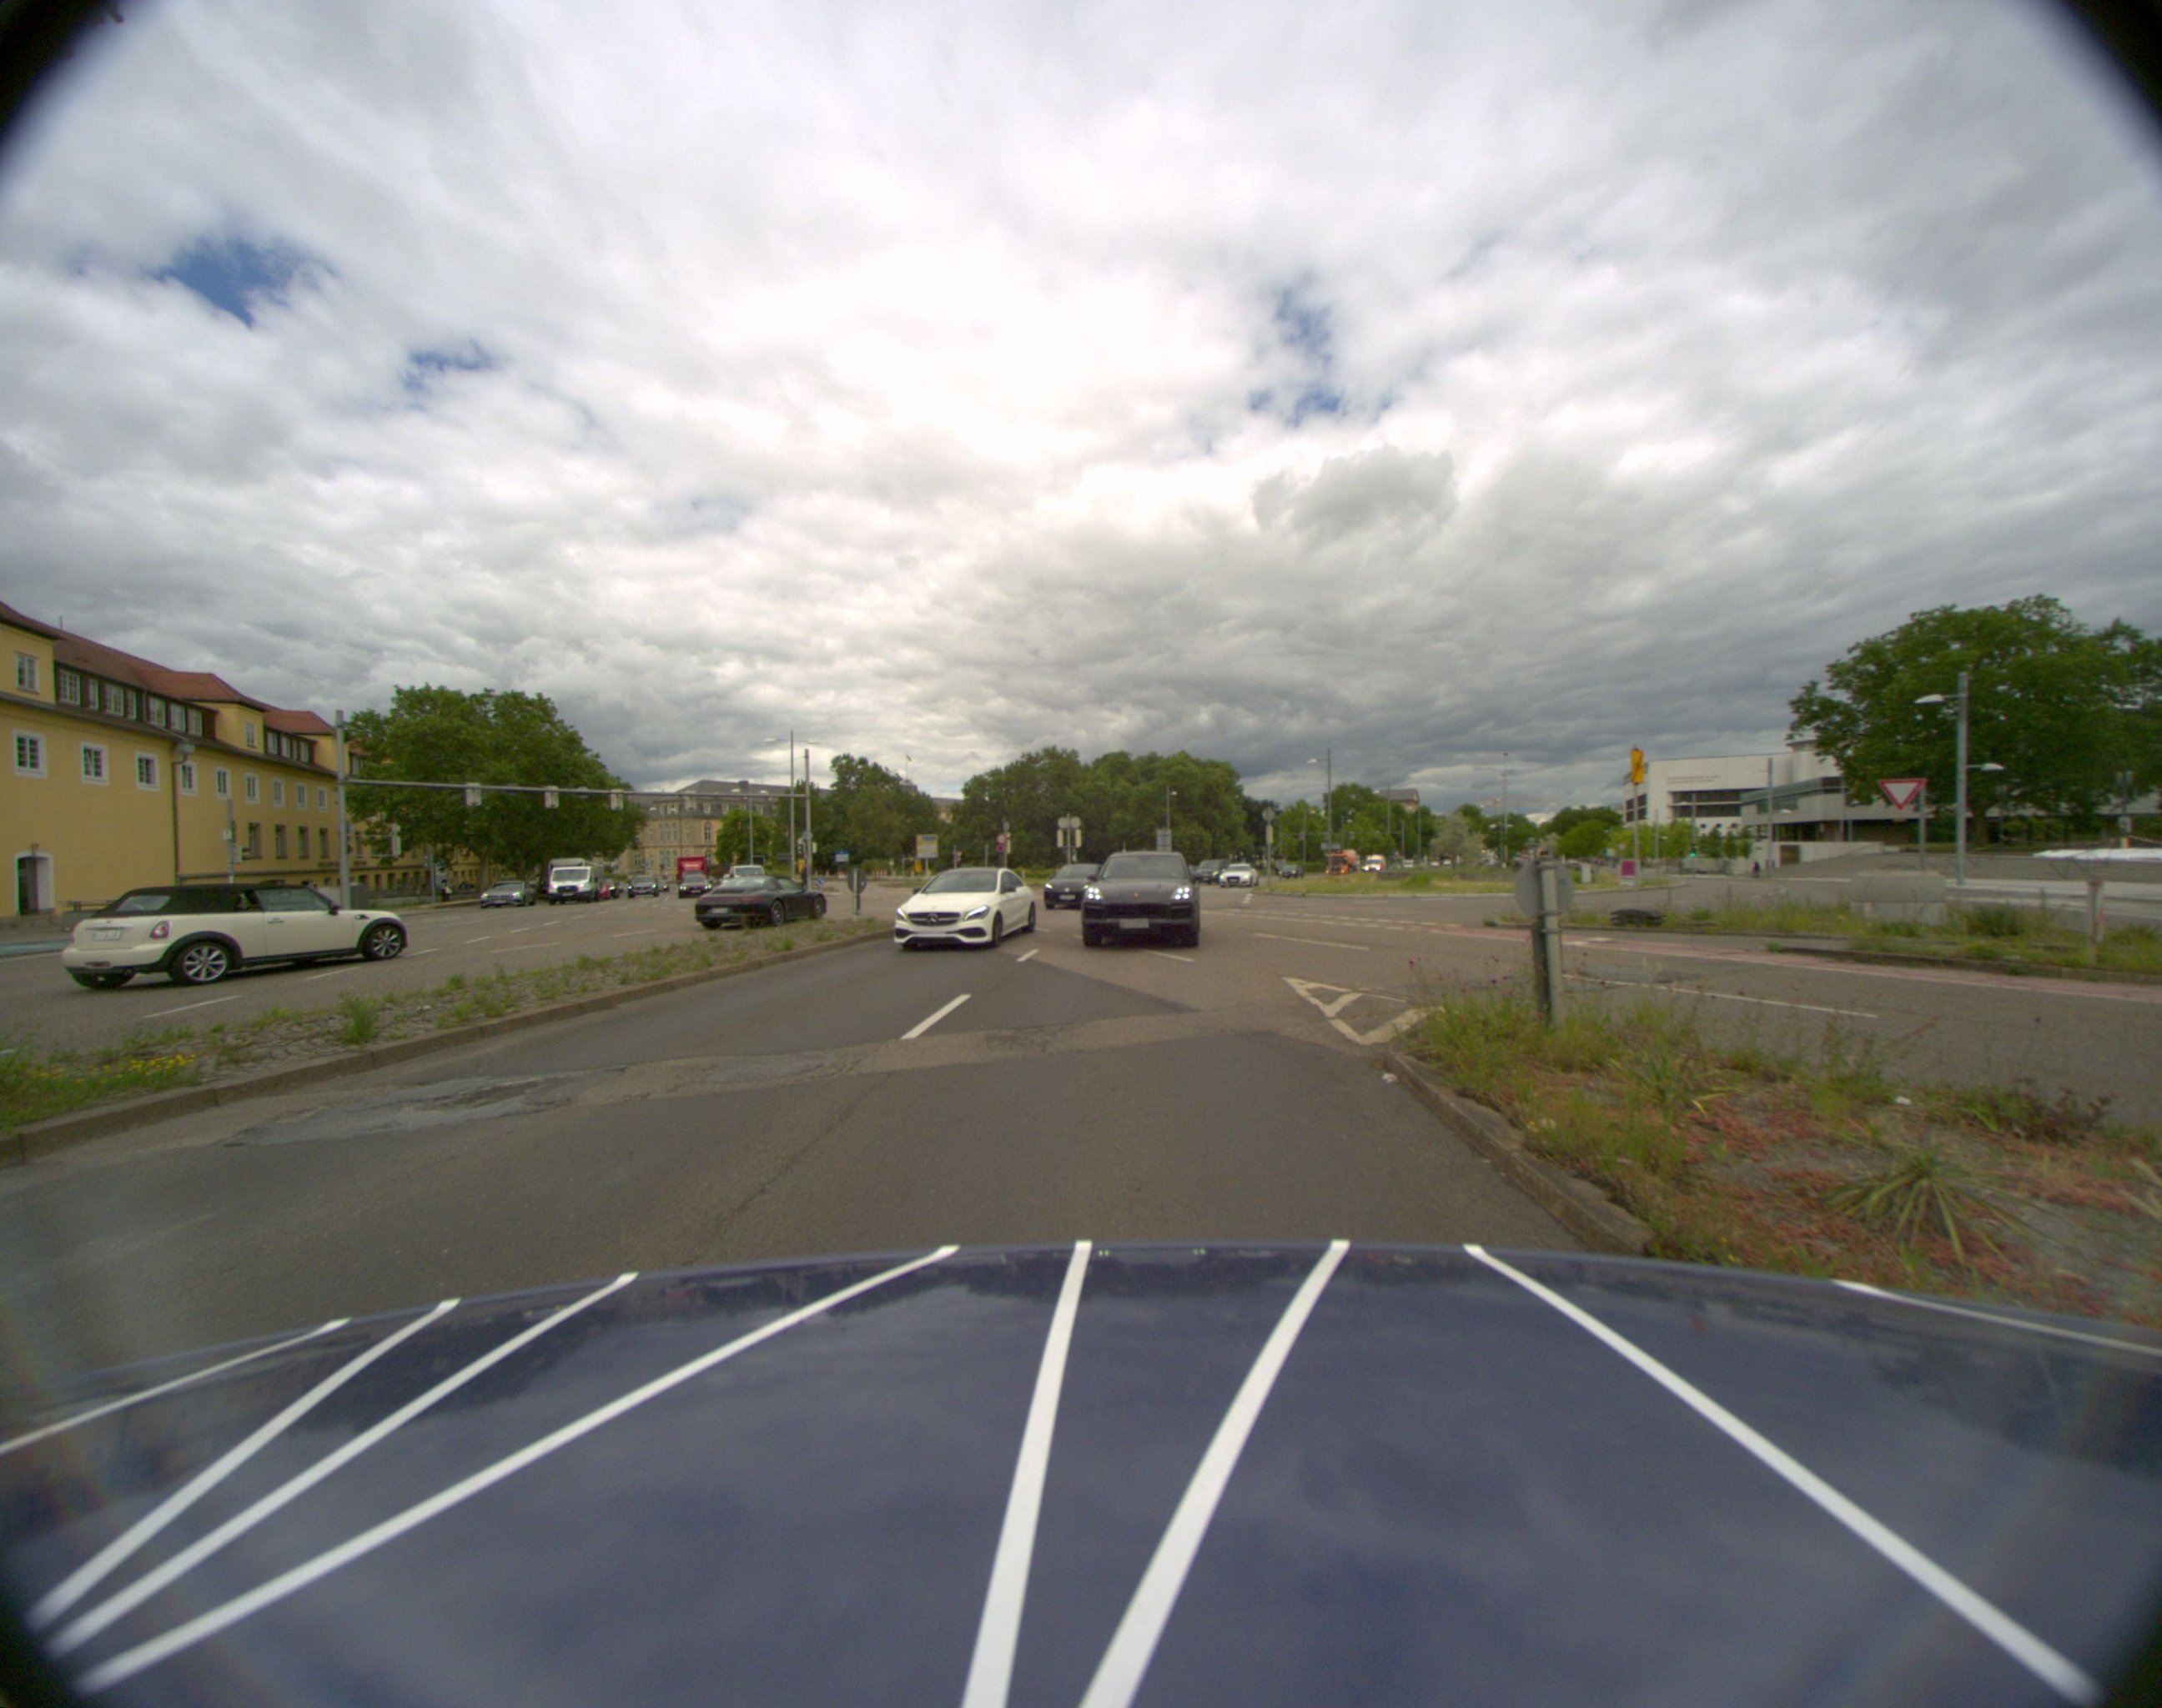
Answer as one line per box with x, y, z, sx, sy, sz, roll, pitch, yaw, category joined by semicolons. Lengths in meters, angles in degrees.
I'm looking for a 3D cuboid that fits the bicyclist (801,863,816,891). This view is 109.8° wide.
-16.462;1.391;45.863;0.504;1.630;0.722;-1;0;16;bicyclist

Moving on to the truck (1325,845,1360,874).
34.432;0.661;99.931;2.721;3.594;9.196;-1;-1;29;truck

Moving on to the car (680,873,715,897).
-24.252;1.909;47.970;1.743;1.391;3.703;-1;-1;-30;car

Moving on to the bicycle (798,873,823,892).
-16.391;1.723;46.004;0.504;1.066;1.731;-1;0;16;bicycle

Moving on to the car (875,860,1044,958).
-2.114;0.934;14.730;1.869;1.560;4.655;-1;0;8;car

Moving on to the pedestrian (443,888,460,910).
-39.801;2.828;48.048;0.682;1.371;0.577;-1;0;-30;pedestrian

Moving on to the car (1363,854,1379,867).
45.544;1.011;119.220;1.779;1.896;3.806;-2;-1;29;car

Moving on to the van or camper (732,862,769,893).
-22.150;1.531;50.792;1.869;1.905;4.703;-1;0;-28;van or camper

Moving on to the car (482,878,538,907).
-31.522;2.113;42.049;1.831;1.400;3.991;-1;0;-28;car

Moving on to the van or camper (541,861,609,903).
-29.415;1.576;44.410;2.378;2.249;6.275;-1;-1;-25;van or camper

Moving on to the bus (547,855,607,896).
-44.199;1.829;66.984;3.441;3.184;13.034;-1;0;-30;bus

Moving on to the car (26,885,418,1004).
-12.846;1.265;11.759;1.727;1.410;3.650;-2;-1;6;car

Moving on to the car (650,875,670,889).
-48.856;3.262;88.167;1.842;1.446;3.482;-1;0;-27;car

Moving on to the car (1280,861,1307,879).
22.169;1.647;79.169;1.856;1.728;3.747;-1;-1;28;car

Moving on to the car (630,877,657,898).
-31.587;2.395;54.905;1.608;1.370;3.991;-1;-1;-29;car

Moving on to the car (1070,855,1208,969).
1.080;0.887;13.861;2.004;1.628;5.023;-2;0;5;car

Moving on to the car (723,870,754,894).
-27.500;2.212;60.914;2.003;1.743;3.952;-1;-1;-28;car

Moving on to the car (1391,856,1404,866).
58.961;1.352;141.481;1.779;1.834;3.806;-1;-1;29;car

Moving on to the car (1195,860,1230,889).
9.829;1.479;56.609;1.857;1.976;4.648;0;0;19;car

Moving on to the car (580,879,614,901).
-32.054;2.338;50.402;1.618;1.347;3.478;-1;-1;-29;car

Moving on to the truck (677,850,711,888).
-38.478;1.498;75.397;2.796;3.469;8.332;-1;-1;-28;truck

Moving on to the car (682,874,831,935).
-8.026;1.206;19.231;1.674;1.257;4.060;-2;-1;6;car

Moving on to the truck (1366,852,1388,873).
40.406;1.168;103.674;1.951;2.767;5.800;-1;-1;29;truck

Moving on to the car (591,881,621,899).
-35.771;2.656;57.250;1.625;1.228;3.232;-1;-1;-27;car

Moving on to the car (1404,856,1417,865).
68.173;1.342;157.032;1.779;1.834;3.806;-2;-1;33;car

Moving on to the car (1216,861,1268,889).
10.197;1.265;47.769;2.091;1.600;4.420;0;0;27;car

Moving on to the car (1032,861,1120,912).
-0.071;1.057;26.521;1.996;1.537;4.573;-1;0;13;car

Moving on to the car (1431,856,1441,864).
89.653;1.448;191.849;1.779;1.834;3.806;-2;-1;33;car

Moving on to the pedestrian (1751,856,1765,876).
61.326;1.101;68.831;0.682;1.738;0.892;-1;0;24;pedestrian
